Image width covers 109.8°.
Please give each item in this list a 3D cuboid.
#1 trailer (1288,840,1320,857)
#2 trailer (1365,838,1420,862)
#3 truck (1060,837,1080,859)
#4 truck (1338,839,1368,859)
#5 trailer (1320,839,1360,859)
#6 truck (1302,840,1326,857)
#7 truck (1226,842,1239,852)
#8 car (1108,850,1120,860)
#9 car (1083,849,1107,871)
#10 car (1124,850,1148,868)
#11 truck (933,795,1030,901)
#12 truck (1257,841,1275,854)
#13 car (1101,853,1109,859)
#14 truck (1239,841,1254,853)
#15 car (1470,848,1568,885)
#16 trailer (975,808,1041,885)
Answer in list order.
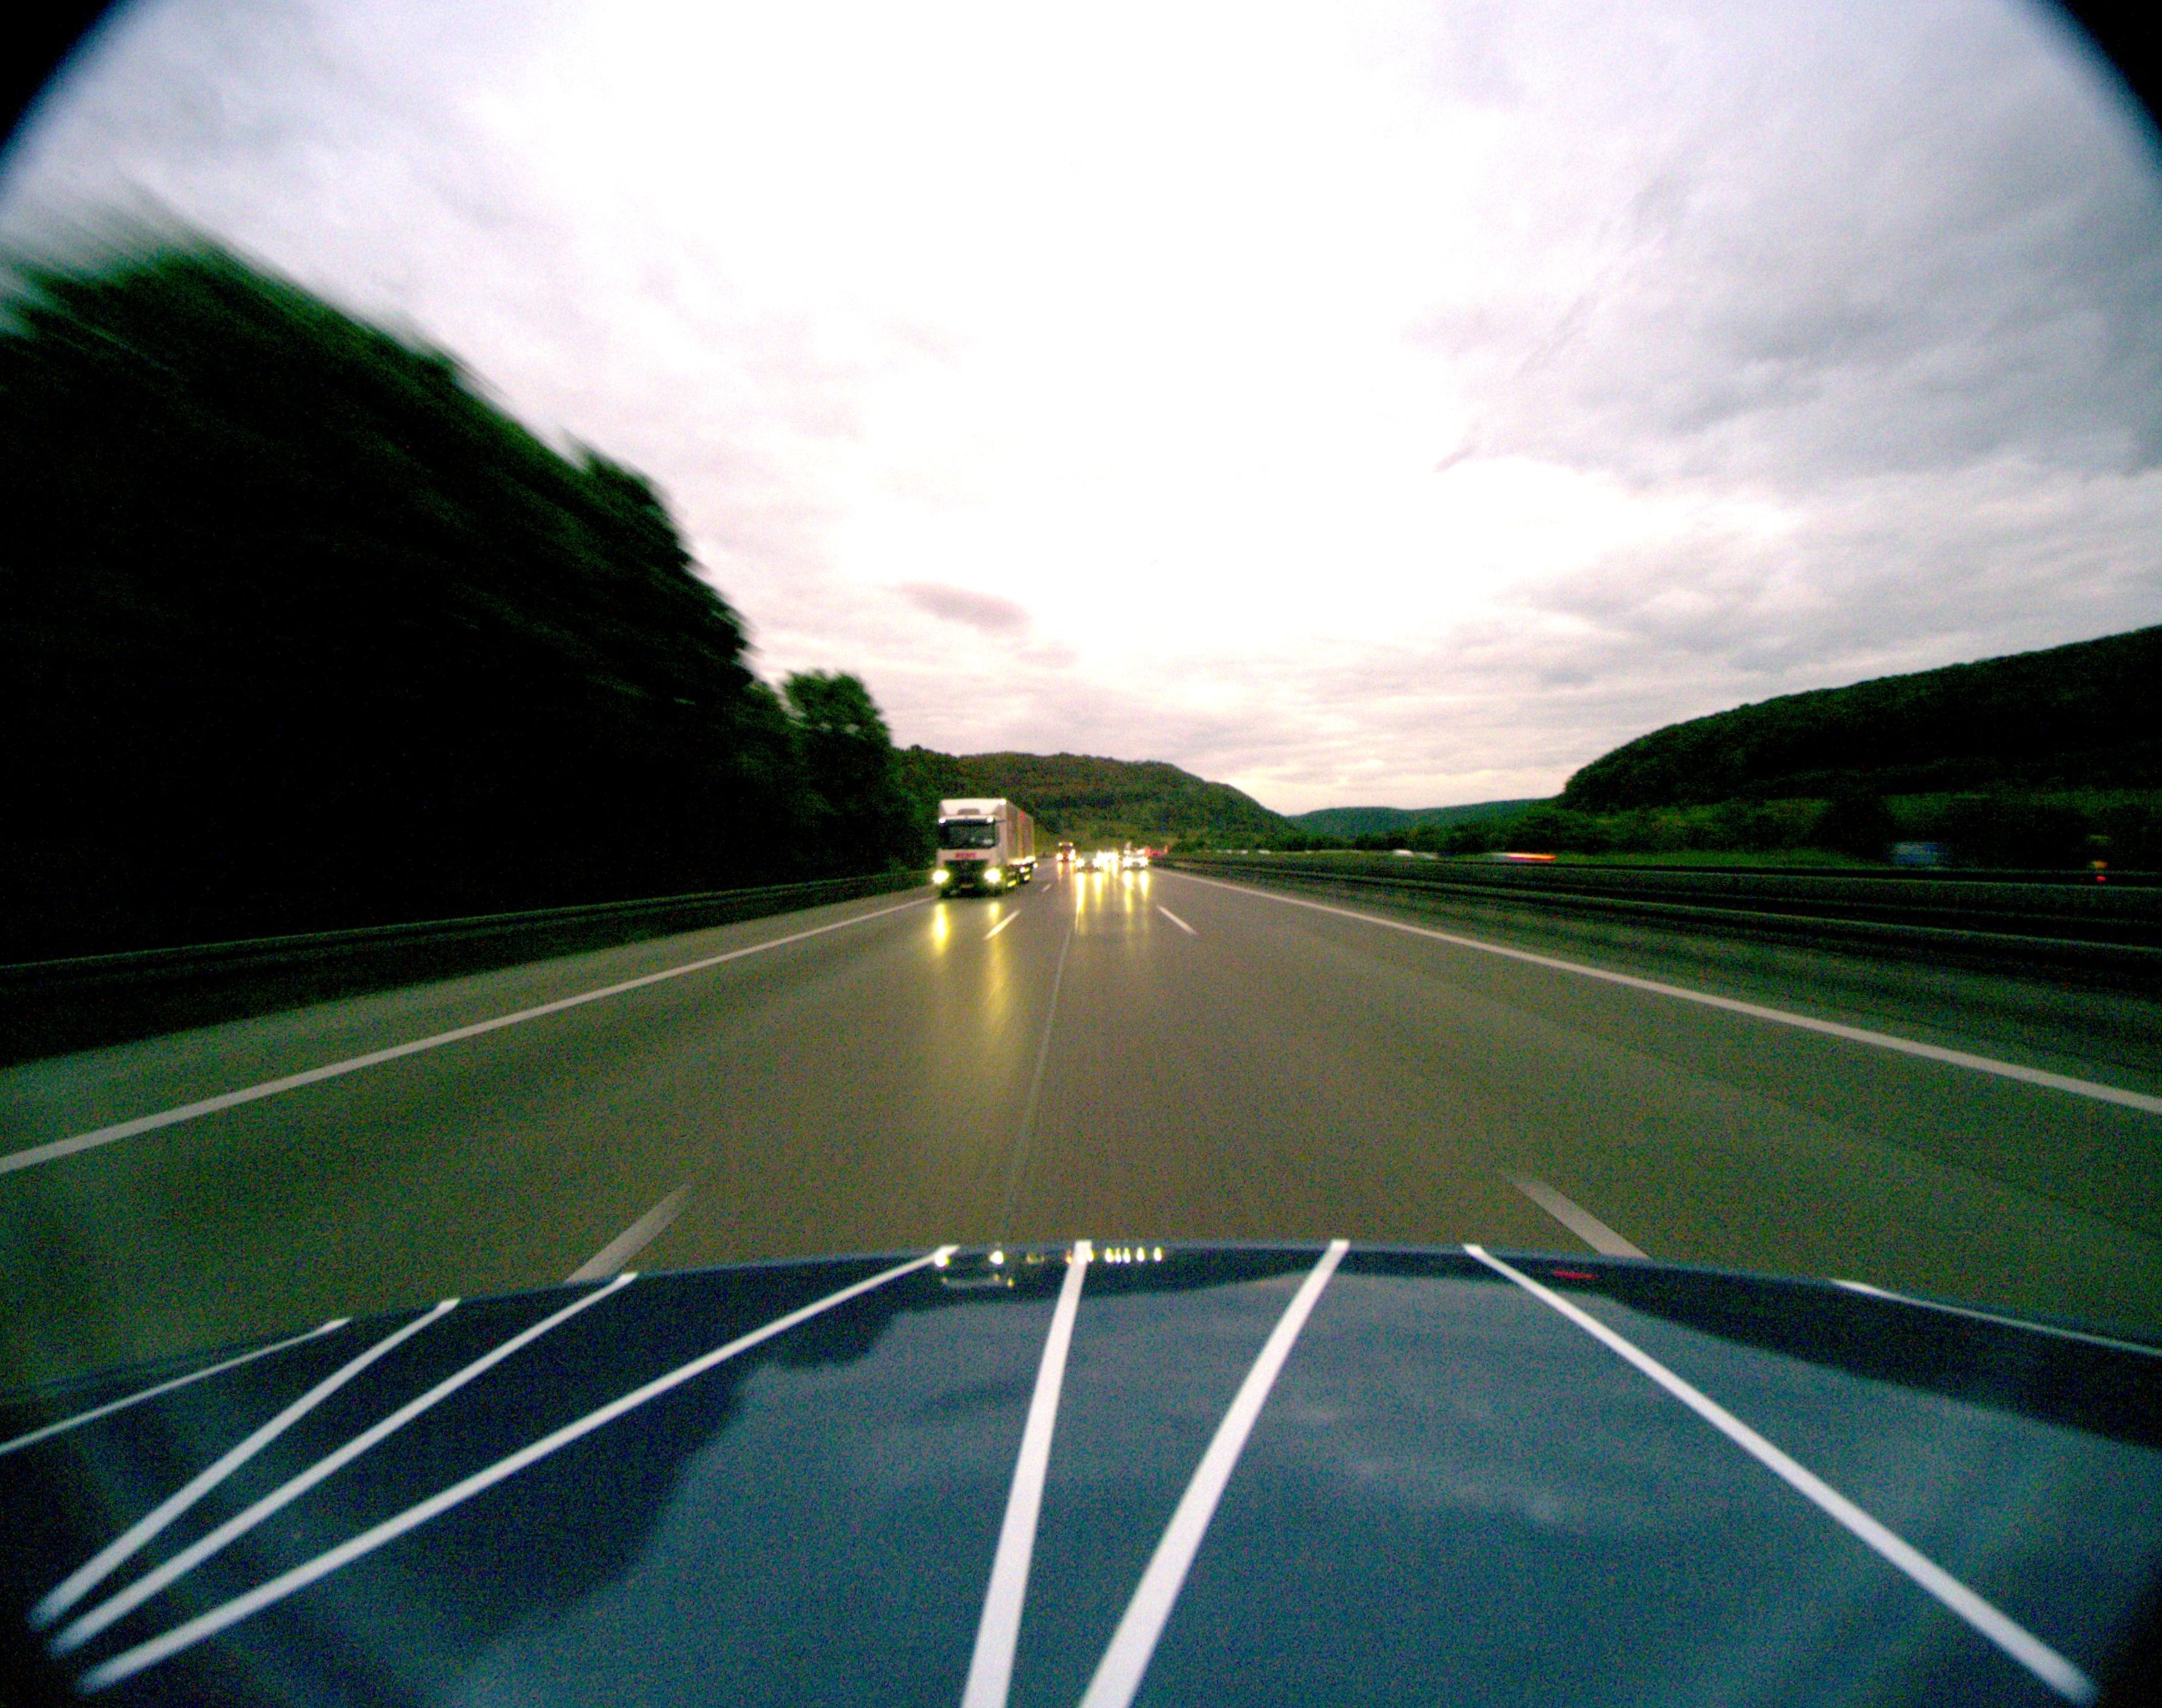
[{"bbox_3d":[42.755,-1.080,145.826,2.880,3.035,11.726,-1,0,1],"label":"trailer"},{"bbox_3d":[42.569,-0.593,104.261,2.874,3.070,11.157,0,1,-1],"label":"trailer"},{"bbox_3d":[-1.998,-1.085,141.057,3.119,3.850,14.162,2,1,1],"label":"truck"},{"bbox_3d":[42.525,-0.775,118.999,2.874,3.071,5.304,0,1,1],"label":"truck"},{"bbox_3d":[42.680,-0.858,125.600,2.874,3.070,11.159,0,1,1],"label":"trailer"},{"bbox_3d":[42.709,-1.032,139.634,2.874,3.071,5.304,0,1,1],"label":"truck"},{"bbox_3d":[44.646,-2.087,223.712,2.874,3.071,5.892,0,1,1],"label":"truck"},{"bbox_3d":[5.898,0.085,137.668,1.894,1.650,5.638,-2,1,1],"label":"car"},{"bbox_3d":[1.138,0.494,62.289,1.927,1.674,4.806,-1,1,1],"label":"car"},{"bbox_3d":[5.032,0.405,69.668,1.794,1.492,5.037,-2,1,0],"label":"car"},{"bbox_3d":[-3.980,-0.296,32.903,2.623,3.805,10.384,-1,1,1],"label":"truck"},{"bbox_3d":[43.881,-1.541,180.009,2.874,3.071,5.892,0,1,1],"label":"truck"},{"bbox_3d":[6.117,0.541,194.462,1.898,1.503,4.000,-1,1,1],"label":"car"},{"bbox_3d":[44.214,-1.825,202.814,2.874,3.071,5.892,0,1,1],"label":"truck"},{"bbox_3d":[20.627,0.535,36.050,1.998,1.584,4.740,-1,0,2],"label":"car"},{"bbox_3d":[-3.897,-0.443,42.570,2.623,3.805,8.876,-1,1,1],"label":"trailer"}]
